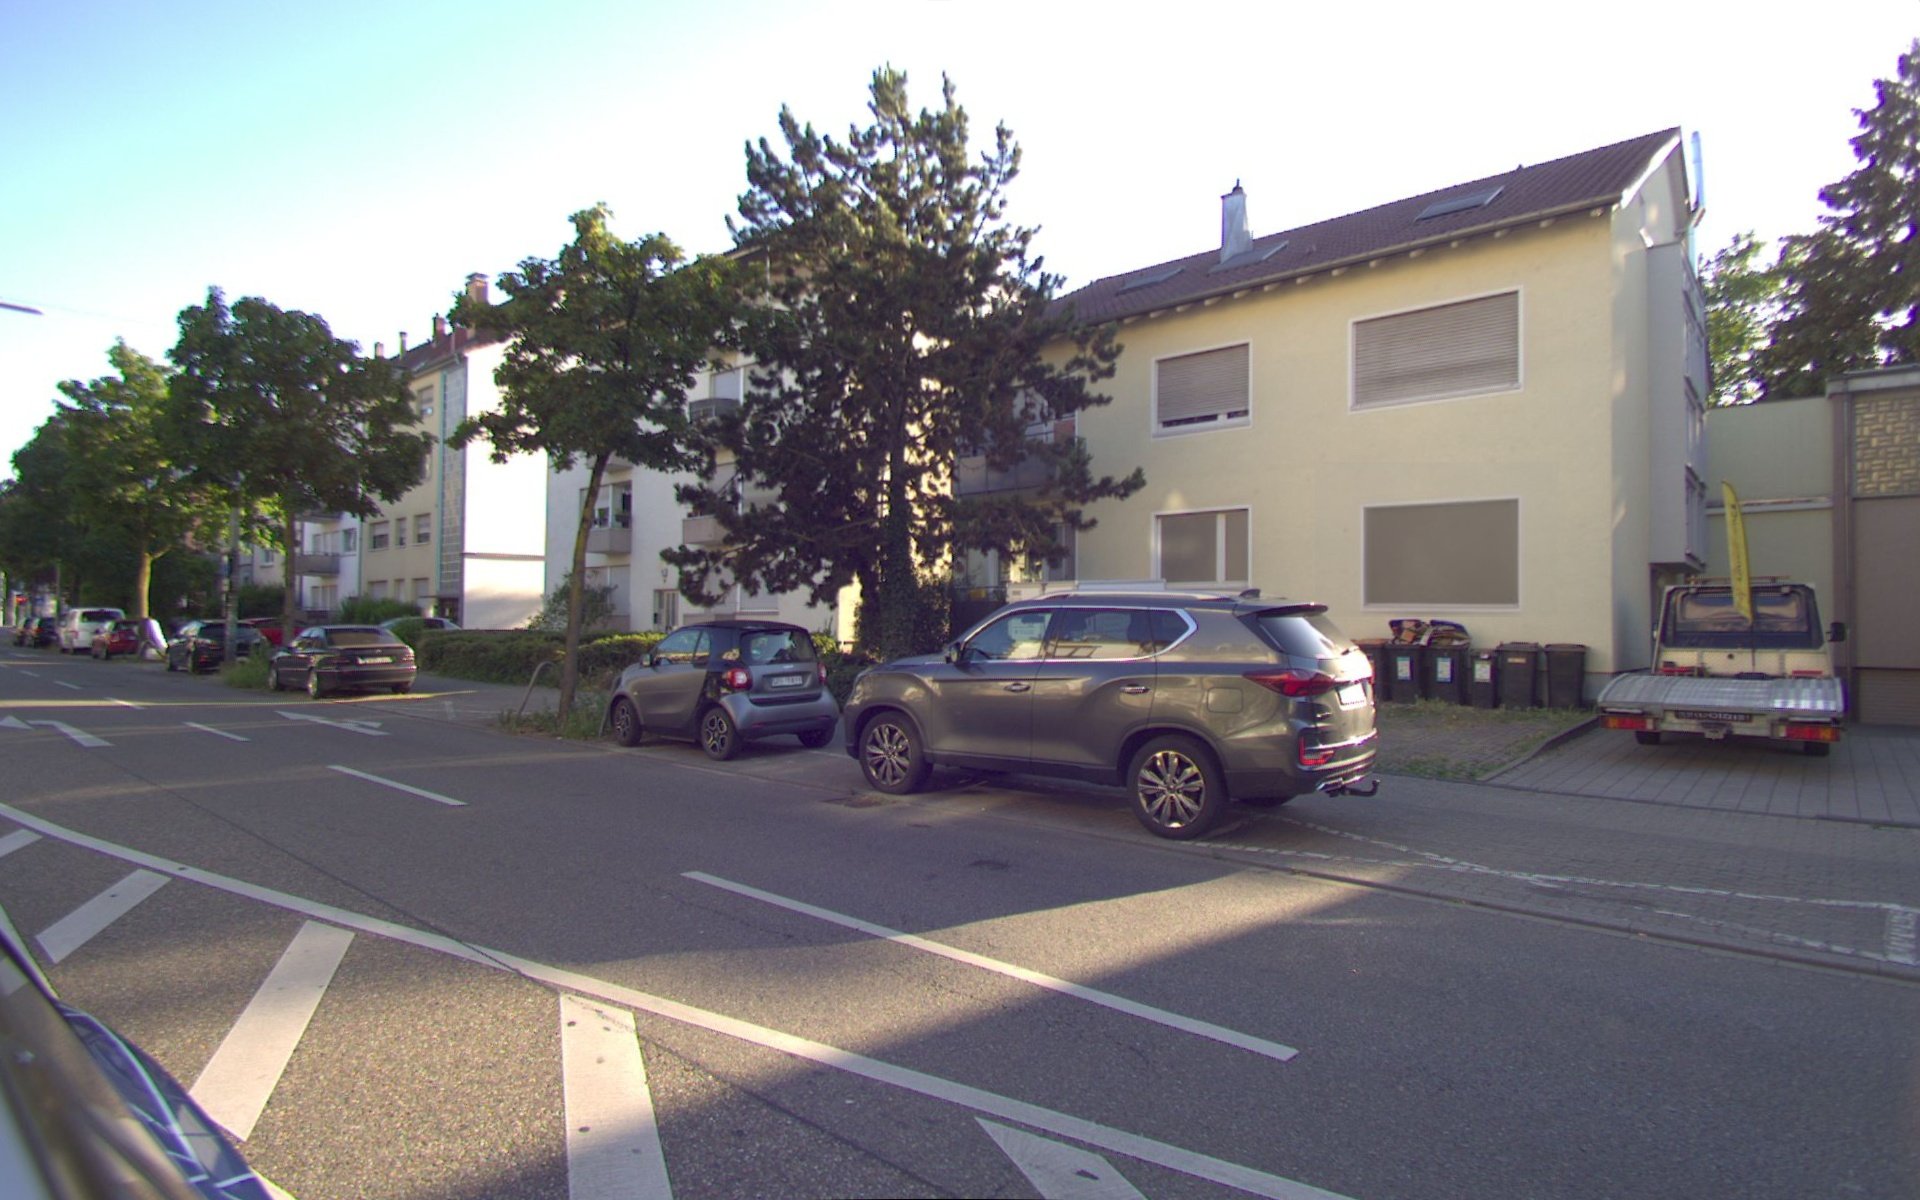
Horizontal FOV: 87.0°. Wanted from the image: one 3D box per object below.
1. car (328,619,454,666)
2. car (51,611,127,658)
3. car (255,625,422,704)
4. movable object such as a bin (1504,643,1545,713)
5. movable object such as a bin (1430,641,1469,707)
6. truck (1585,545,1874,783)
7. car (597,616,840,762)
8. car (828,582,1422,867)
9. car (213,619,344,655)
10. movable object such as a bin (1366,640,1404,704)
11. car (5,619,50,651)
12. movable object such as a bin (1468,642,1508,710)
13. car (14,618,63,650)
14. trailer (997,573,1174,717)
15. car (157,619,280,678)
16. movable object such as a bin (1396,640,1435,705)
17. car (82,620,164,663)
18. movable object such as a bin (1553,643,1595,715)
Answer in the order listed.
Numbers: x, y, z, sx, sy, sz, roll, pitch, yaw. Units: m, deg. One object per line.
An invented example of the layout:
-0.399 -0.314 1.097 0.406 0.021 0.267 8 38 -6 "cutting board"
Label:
-19.596 1.434 34.919 1.686 1.535 3.422 -1 -2 42 "car"
-35.305 1.384 40.990 4.190 1.823 1.717 -1 -2 41 "car"
-12.740 1.238 20.630 4.441 1.418 1.620 -1 -2 41 "car"
8.559 1.165 15.345 0.450 1.026 0.497 -1 -3 40 "movable object such as a bin"
7.776 1.162 16.065 0.450 1.026 0.497 -1 -3 40 "movable object such as a bin"
9.805 0.697 12.703 2.275 2.202 6.823 -1 -2 41 "truck"
-2.986 0.992 12.366 2.747 1.567 1.557 -1 -2 40 "car"
1.175 0.833 8.629 4.722 1.793 1.868 -1 -2 40 "car"
-29.953 1.595 44.638 1.735 1.416 4.516 -1 0 31 "car"
7.024 1.174 16.714 0.450 1.026 0.497 -1 -3 40 "movable object such as a bin"
-46.865 1.736 50.846 3.682 1.475 1.388 0 0 43 "car"
8.185 1.166 15.693 0.450 1.026 0.497 -1 -3 40 "movable object such as a bin"
-43.791 1.598 48.082 3.682 1.416 1.388 0 0 43 "car"
2.015 0.680 15.817 1.551 2.029 2.745 -1 -2 39 "trailer"
-20.540 1.299 27.971 3.997 1.497 1.838 -1 -3 40 "car"
7.380 1.168 16.392 0.450 1.026 0.497 -1 -3 40 "movable object such as a bin"
-30.089 1.466 36.355 3.634 1.475 1.717 -1 -2 41 "car"
9.071 1.157 14.948 0.450 1.026 0.497 -1 -3 40 "movable object such as a bin"
